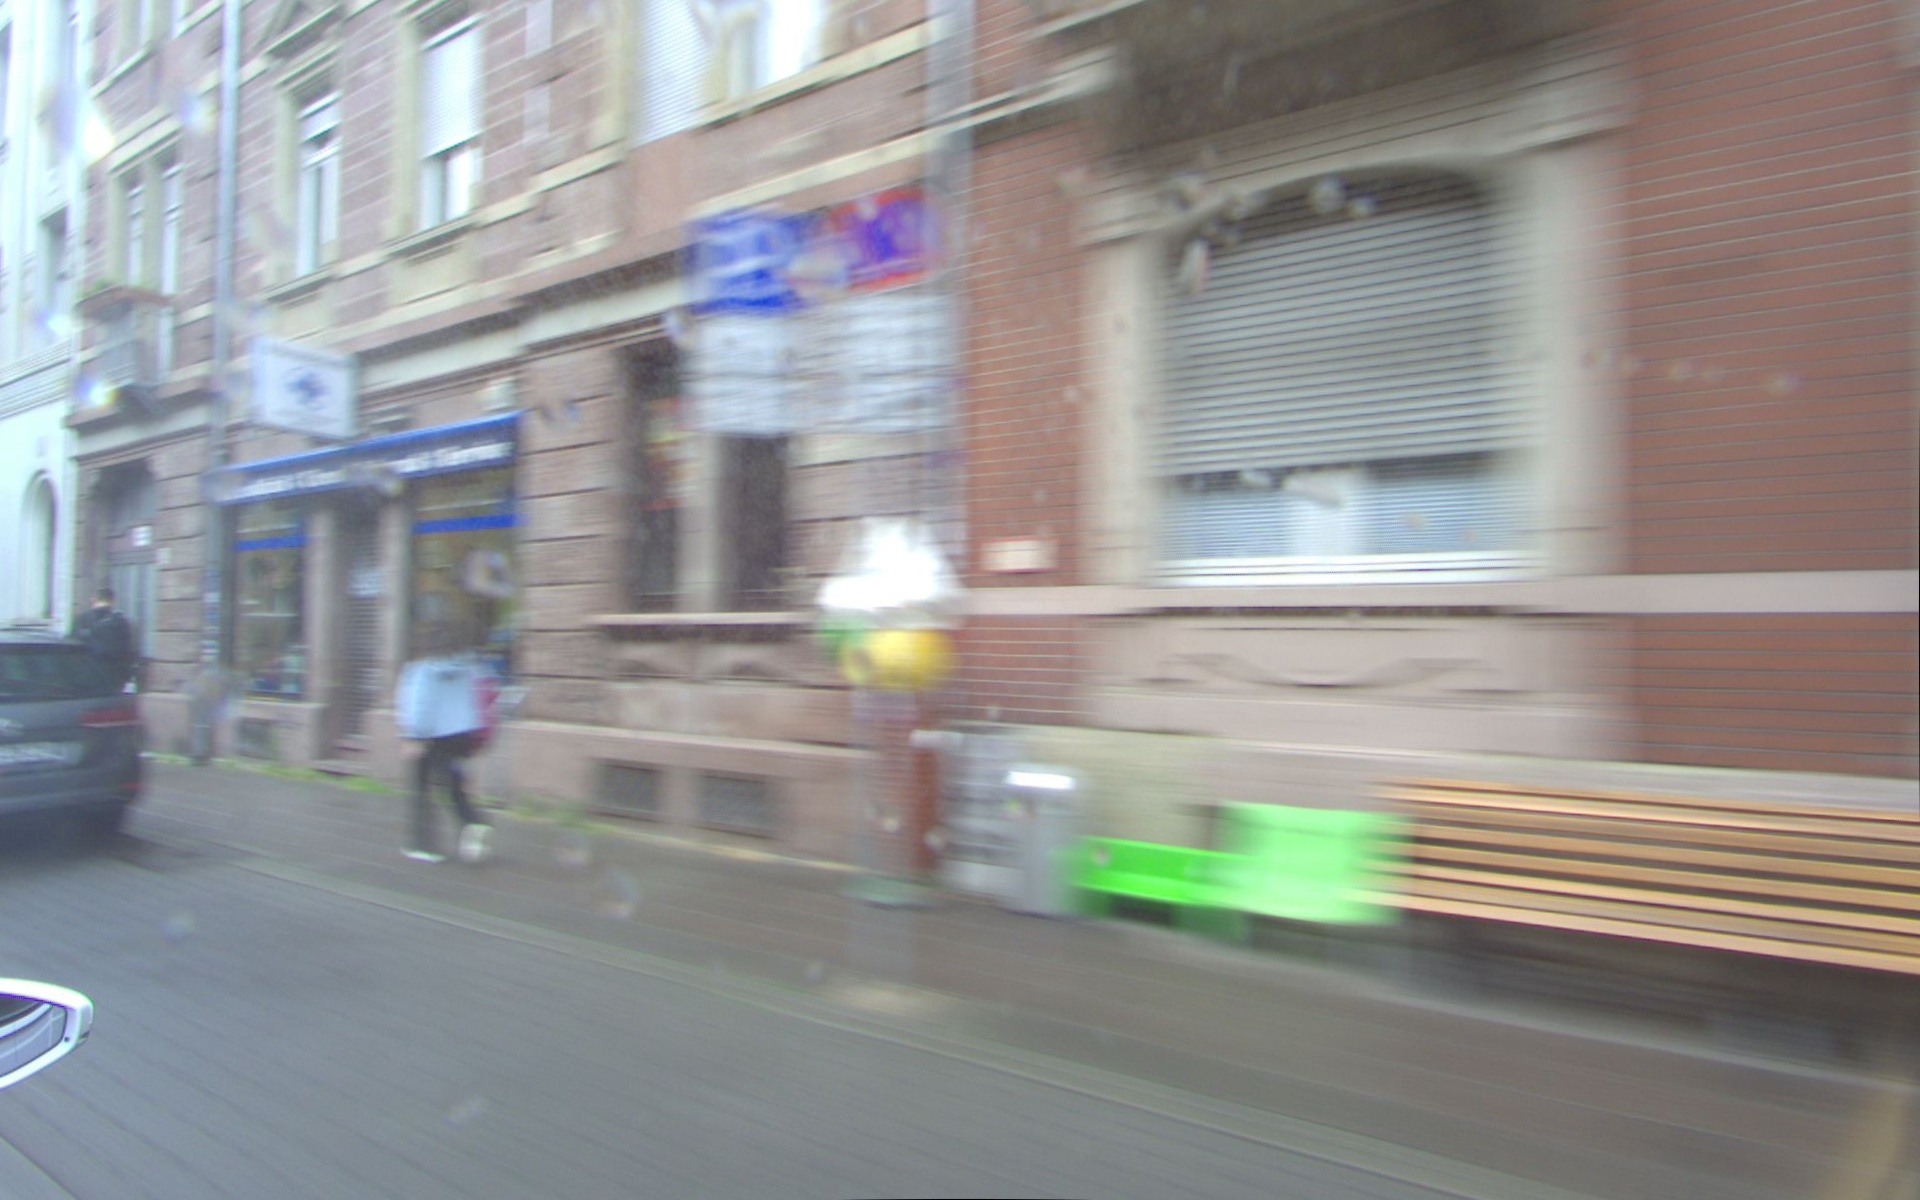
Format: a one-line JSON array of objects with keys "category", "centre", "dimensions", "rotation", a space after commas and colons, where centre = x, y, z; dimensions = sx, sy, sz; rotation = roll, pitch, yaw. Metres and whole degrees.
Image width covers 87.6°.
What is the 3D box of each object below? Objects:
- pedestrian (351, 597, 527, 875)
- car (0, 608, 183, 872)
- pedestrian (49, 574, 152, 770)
[{"category": "pedestrian", "centre": [-3.319, 0.815, 6.397], "dimensions": [0.798, 1.634, 0.677], "rotation": [0, -1, 33]}, {"category": "car", "centre": [-7.395, 0.861, 6.972], "dimensions": [3.945, 1.565, 1.839], "rotation": [-1, -2, 31]}, {"category": "pedestrian", "centre": [-9.045, 0.750, 10.537], "dimensions": [0.801, 1.958, 0.676], "rotation": [-3, -4, 40]}]
